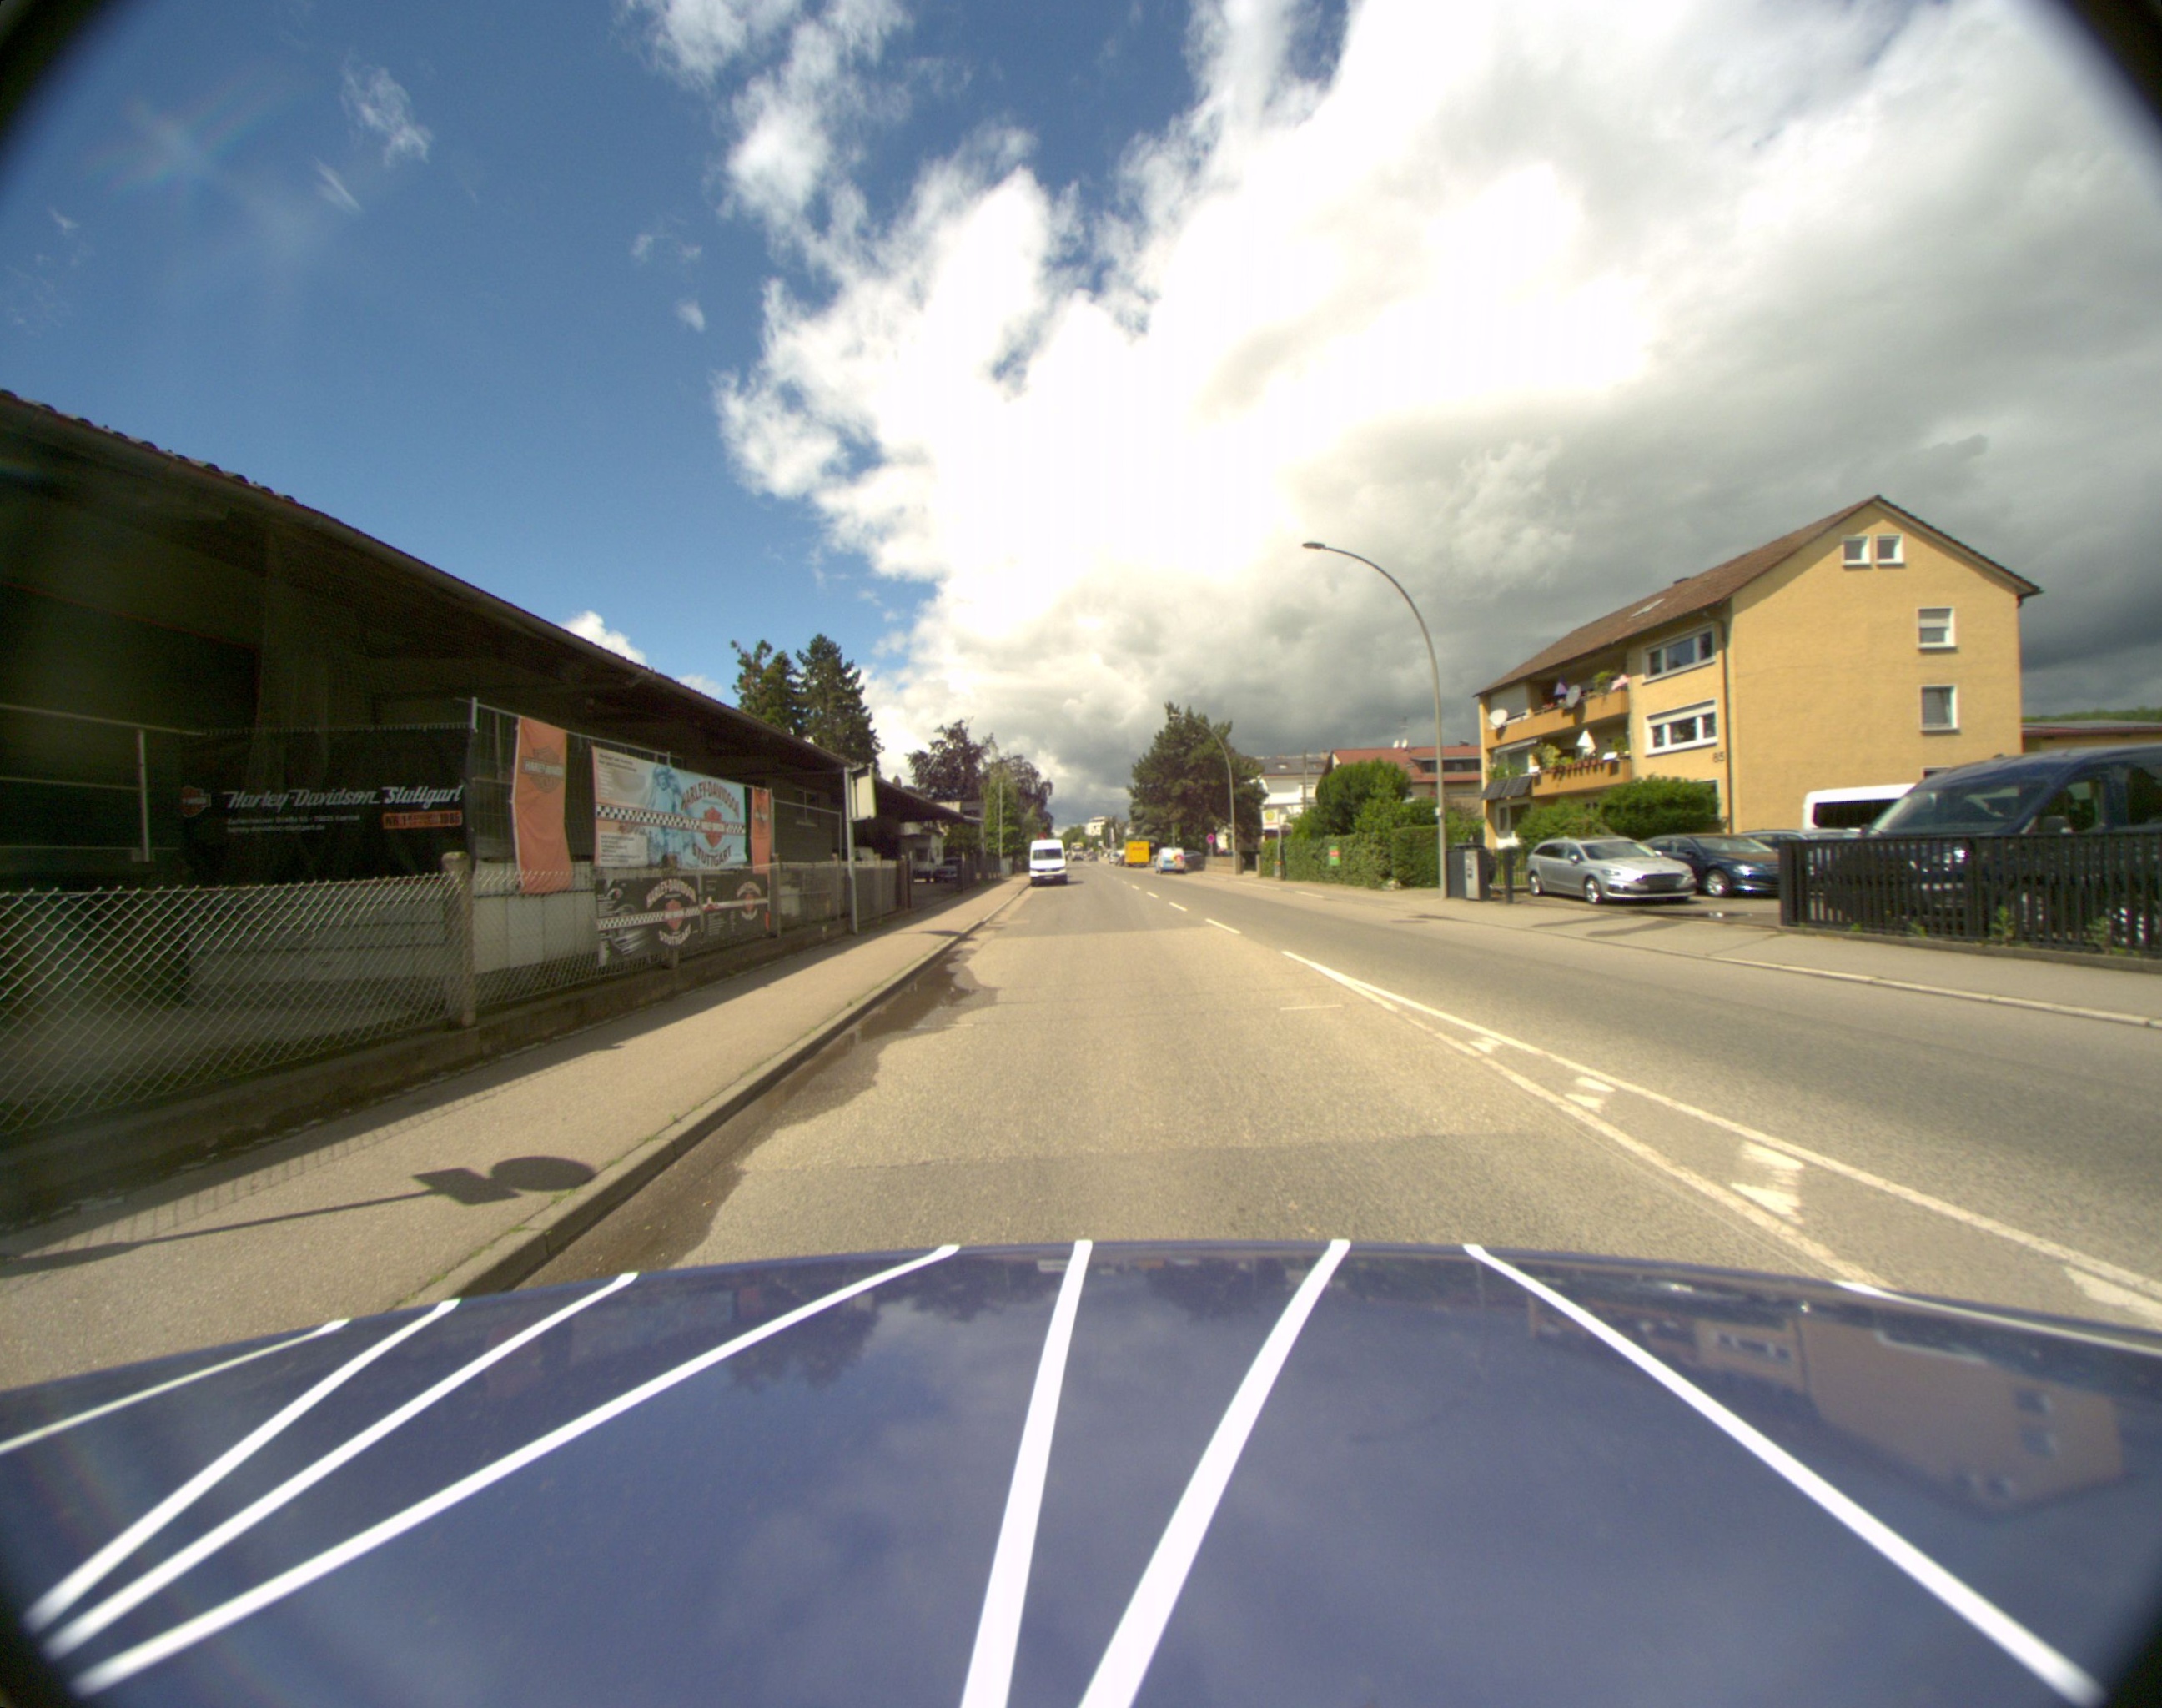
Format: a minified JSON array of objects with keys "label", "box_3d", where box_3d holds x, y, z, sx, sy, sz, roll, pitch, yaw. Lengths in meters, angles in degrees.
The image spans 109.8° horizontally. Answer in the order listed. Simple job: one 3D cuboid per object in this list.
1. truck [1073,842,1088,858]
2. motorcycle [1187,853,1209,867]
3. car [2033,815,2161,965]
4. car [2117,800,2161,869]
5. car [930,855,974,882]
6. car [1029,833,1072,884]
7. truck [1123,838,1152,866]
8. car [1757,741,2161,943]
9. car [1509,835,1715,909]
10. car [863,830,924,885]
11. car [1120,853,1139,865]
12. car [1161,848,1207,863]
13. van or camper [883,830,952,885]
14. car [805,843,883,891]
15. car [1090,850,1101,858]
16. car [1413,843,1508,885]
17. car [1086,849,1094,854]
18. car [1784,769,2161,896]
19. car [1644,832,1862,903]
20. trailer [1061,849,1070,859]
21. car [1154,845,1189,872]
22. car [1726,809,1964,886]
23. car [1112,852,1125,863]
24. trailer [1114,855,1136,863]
[{"label":"truck","box_3d":[-0.186,-0.837,167.882,2.880,3.290,8.605,-4,1,-1]},{"label":"motorcycle","box_3d":[10.553,0.529,68.470,1.872,1.159,0.825,-2,0,16]},{"label":"car","box_3d":[12.471,0.355,6.957,2.037,1.585,4.283,-2,0,-4]},{"label":"car","box_3d":[28.635,-0.522,18.157,1.849,1.781,4.330,-2,0,0]},{"label":"car","box_3d":[-7.505,0.825,44.758,1.769,1.480,4.926,-2,0,-1]},{"label":"car","box_3d":[-1.721,0.233,43.764,2.221,2.673,6.656,-1,0,-2]},{"label":"truck","box_3d":[6.290,-0.189,85.561,2.330,2.986,7.816,0,0,-2]},{"label":"car","box_3d":[13.834,-0.197,10.921,6.053,2.482,2.477,-2,0,-1]},{"label":"car","box_3d":[12.448,0.349,18.342,1.997,1.477,5.344,-2,0,10]},{"label":"car","box_3d":[-9.972,0.227,40.901,2.023,2.665,5.497,-2,-1,-2]},{"label":"car","box_3d":[5.934,0.581,93.267,1.999,1.445,4.811,2,0,-1]},{"label":"car","box_3d":[11.907,0.118,87.990,5.021,1.543,1.972,-2,1,-2]},{"label":"van or camper","box_3d":[-9.933,0.208,46.925,2.889,3.043,6.911,-2,0,-2]},{"label":"car","box_3d":[-10.490,0.559,34.039,1.999,1.898,4.853,-2,0,-1]},{"label":"car","box_3d":[2.955,-0.025,152.538,1.906,1.509,4.317,-1,0,-2]},{"label":"car","box_3d":[14.258,0.329,28.837,1.848,1.418,4.332,-2,0,7]},{"label":"car","box_3d":[2.542,-0.833,219.966,1.987,1.412,3.999,-1,0,-3]},{"label":"car","box_3d":[20.565,-0.439,17.931,2.418,2.481,6.135,0,0,2]},{"label":"car","box_3d":[15.385,0.274,17.762,1.848,1.418,4.334,-1,0,11]},{"label":"trailer","box_3d":[-3.618,-0.042,177.281,2.045,2.214,5.078,-1,0,0]},{"label":"car","box_3d":[6.559,0.346,55.601,1.838,1.842,4.895,1,-1,-1]},{"label":"car","box_3d":[17.822,-0.147,18.075,1.848,1.568,4.334,-1,0,11]},{"label":"car","box_3d":[5.727,0.472,117.349,1.809,1.666,4.127,0,0,-1]},{"label":"trailer","box_3d":[5.714,0.653,99.579,2.324,0.985,7.457,0,0,-1]}]
